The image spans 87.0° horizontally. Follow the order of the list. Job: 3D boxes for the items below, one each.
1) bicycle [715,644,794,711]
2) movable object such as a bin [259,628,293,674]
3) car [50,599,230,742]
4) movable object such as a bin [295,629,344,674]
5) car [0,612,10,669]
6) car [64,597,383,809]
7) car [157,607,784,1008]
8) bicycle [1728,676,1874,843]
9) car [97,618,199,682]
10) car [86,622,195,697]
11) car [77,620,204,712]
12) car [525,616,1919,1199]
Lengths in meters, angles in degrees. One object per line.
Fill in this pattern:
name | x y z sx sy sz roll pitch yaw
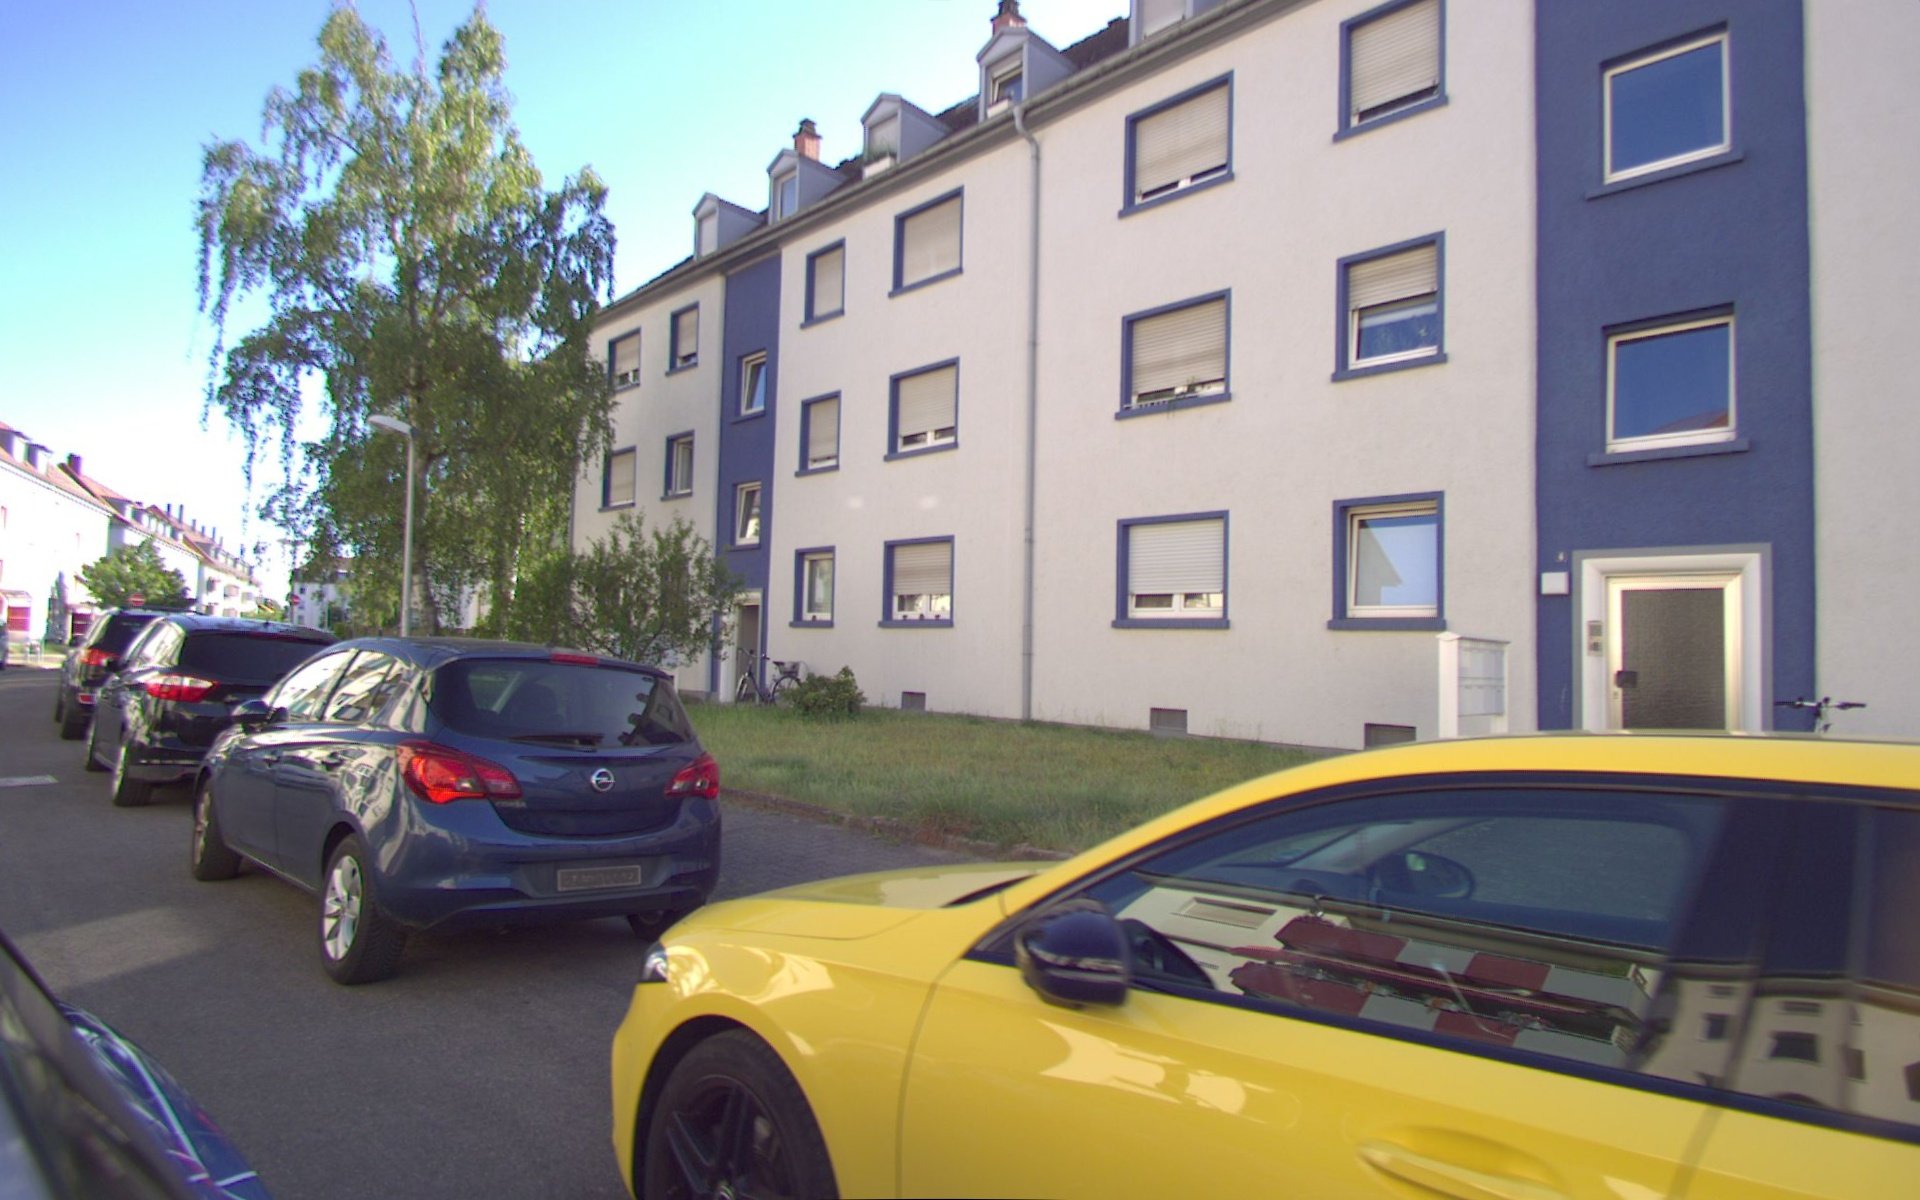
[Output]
bicycle | -3.748 1.421 18.498 0.415 1.161 1.393 -1 -4 42
movable object such as a bin | -21.710 1.610 32.162 0.765 1.403 1.421 3 -3 -32
car | -11.794 0.944 14.448 1.537 1.727 4.342 8 -6 -43
movable object such as a bin | -20.210 1.628 31.968 1.202 1.391 0.770 2 -3 -27
car | -30.858 1.220 31.042 1.723 1.838 4.142 5 -4 -34
car | -7.112 0.907 9.597 4.158 1.572 1.674 -2 -8 45
car | -2.965 0.872 5.702 4.019 1.456 1.676 0 -8 42
bicycle | 6.703 1.202 8.037 1.797 1.086 0.569 0 -1 -40
car | -21.577 1.309 27.055 1.655 1.464 4.632 7 -5 -34
car | -18.609 1.313 23.072 1.656 1.453 4.288 7 -5 -38
car | -15.001 1.160 18.613 1.535 1.453 3.975 7 -5 -38
car | 1.063 0.779 1.771 4.154 1.400 1.676 -1 -5 41
